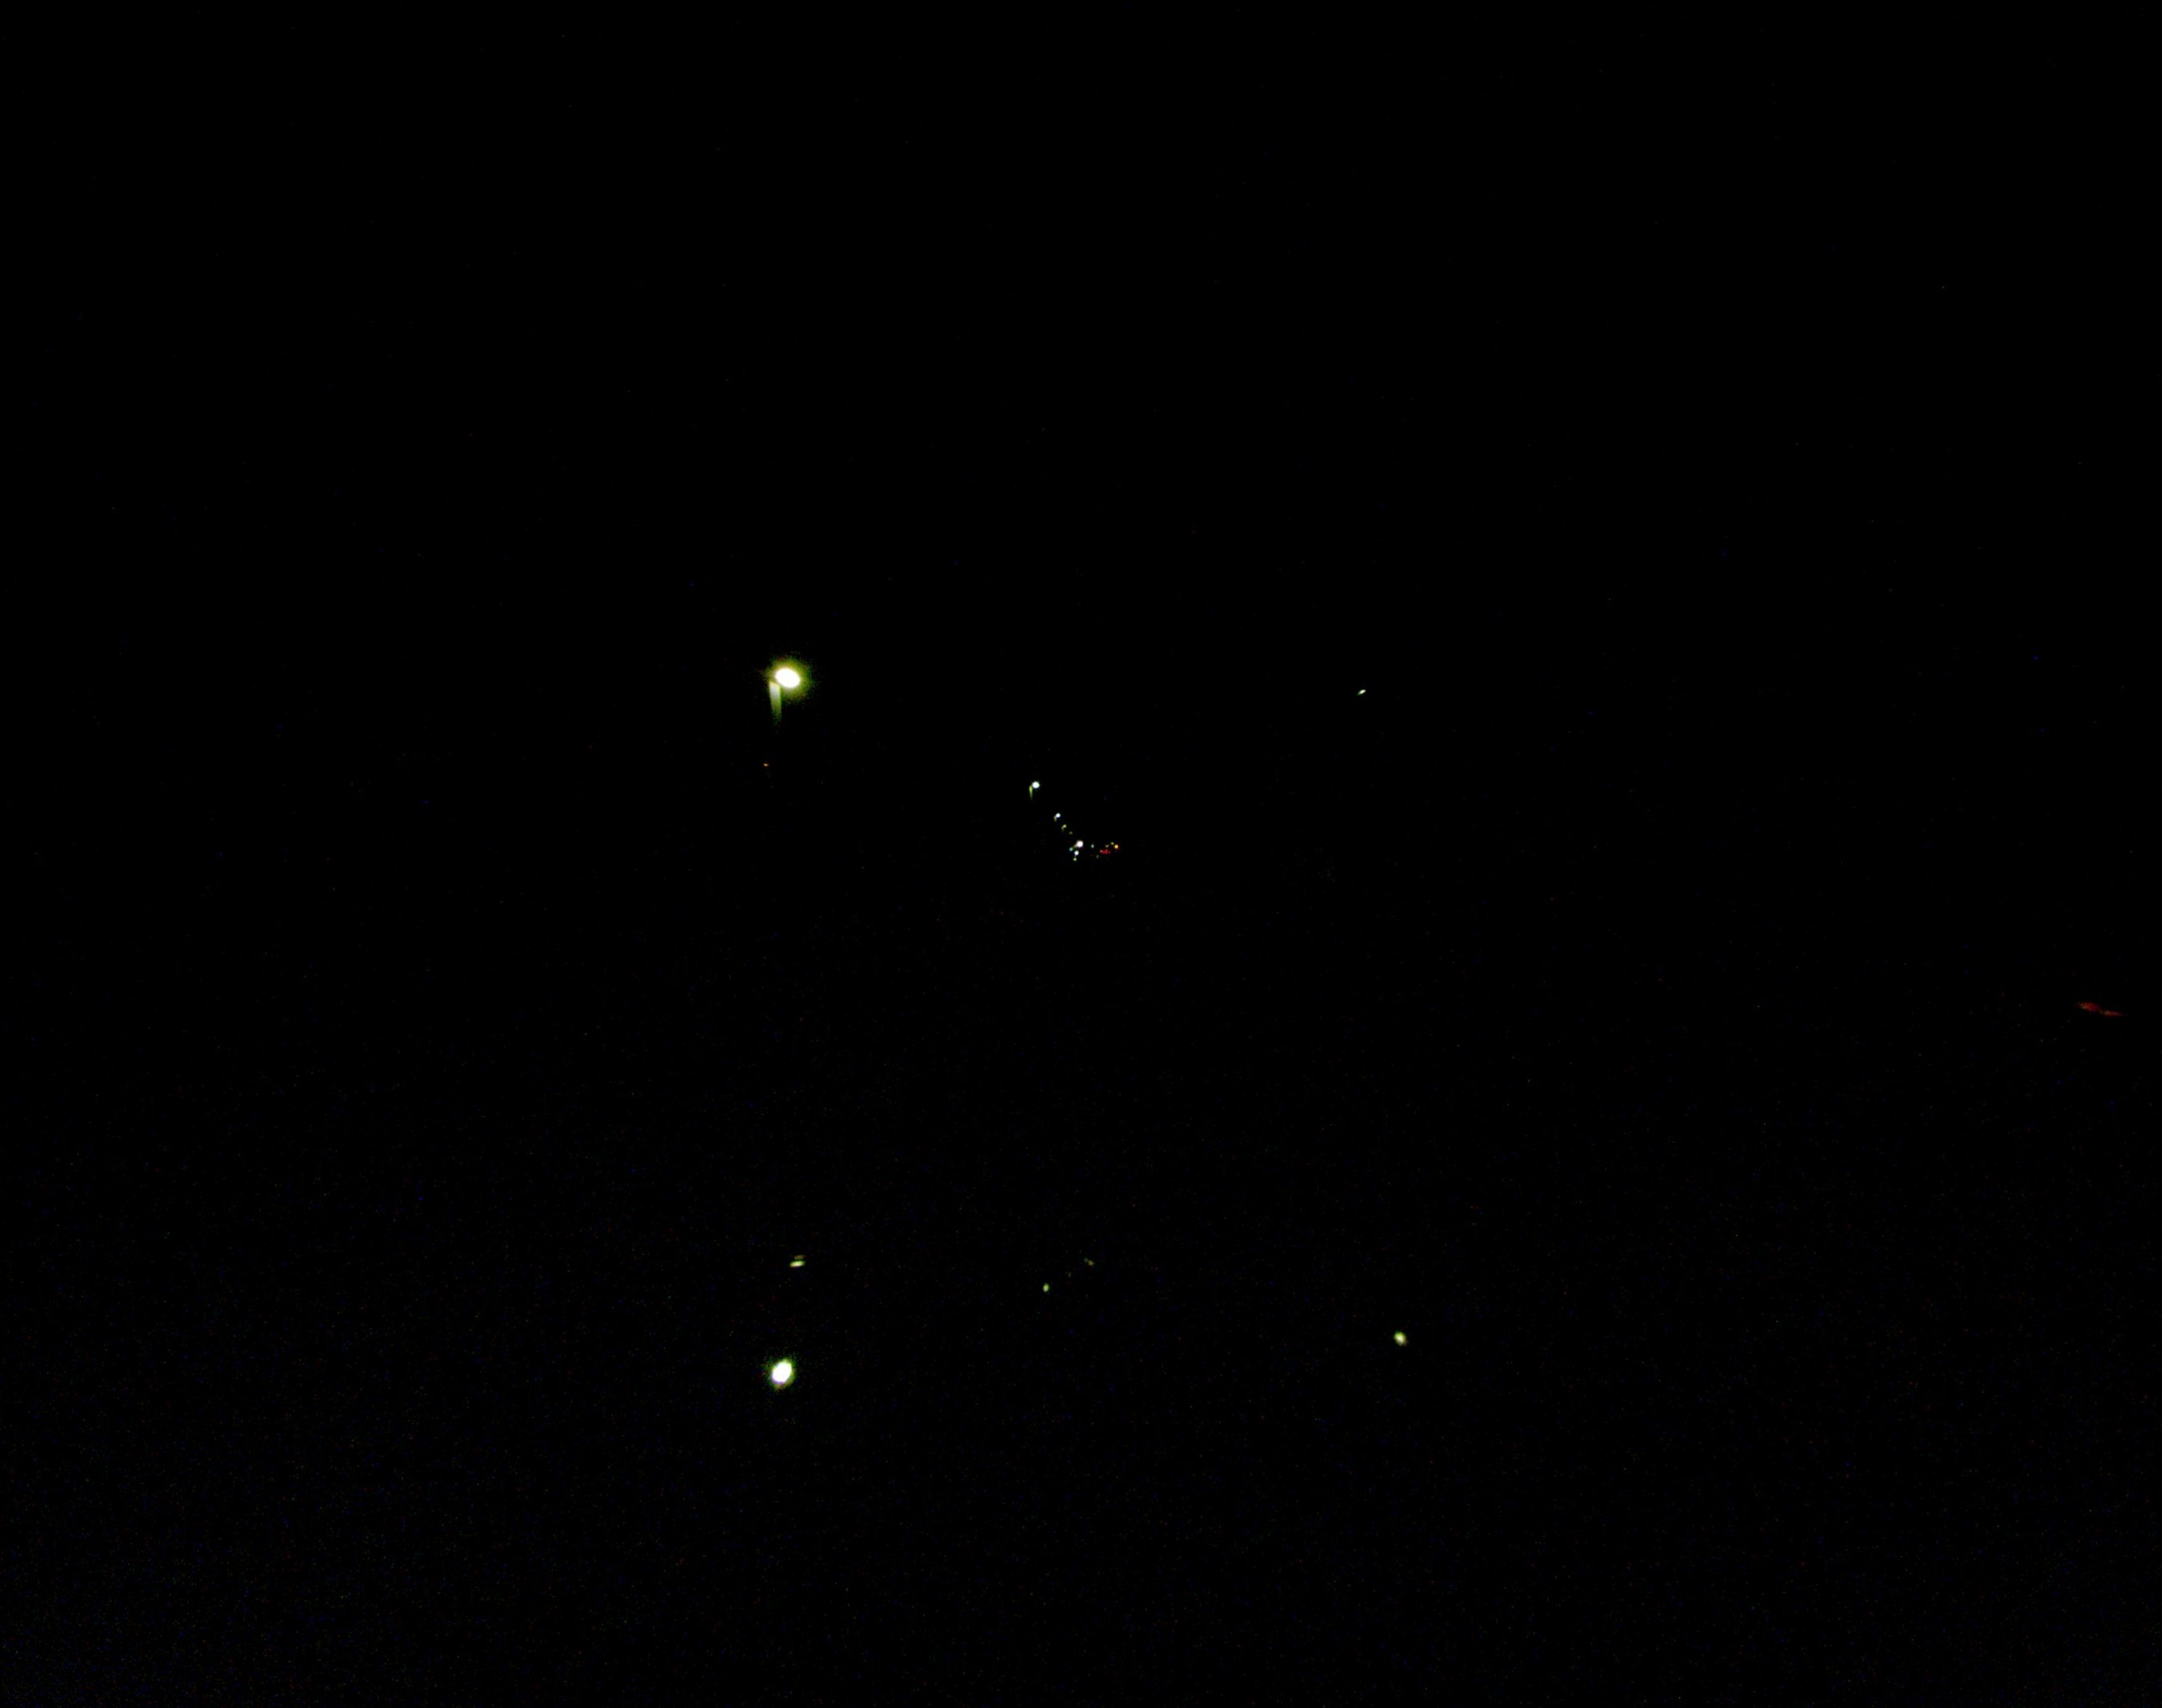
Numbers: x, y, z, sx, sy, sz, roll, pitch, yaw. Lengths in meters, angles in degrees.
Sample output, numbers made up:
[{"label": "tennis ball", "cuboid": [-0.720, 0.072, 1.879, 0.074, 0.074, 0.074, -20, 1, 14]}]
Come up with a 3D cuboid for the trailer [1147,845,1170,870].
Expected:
[{"label": "trailer", "cuboid": [5.672, 0.229, 55.976, 1.451, 1.678, 3.426, -5, 0, 3]}]

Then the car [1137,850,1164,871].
[{"label": "car", "cuboid": [5.370, 0.495, 59.224, 1.675, 1.513, 2.978, -5, 0, -1]}]

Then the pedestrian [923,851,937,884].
[{"label": "pedestrian", "cuboid": [-8.924, 0.769, 44.828, 0.647, 1.926, 0.773, 0, 1, 1]}]

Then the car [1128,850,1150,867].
[{"label": "car", "cuboid": [5.521, 0.433, 72.950, 1.771, 1.510, 4.278, -4, 0, 1]}]

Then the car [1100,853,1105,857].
[{"label": "car", "cuboid": [6.801, 0.332, 243.561, 1.606, 1.474, 3.699, -2, 0, 1]}]

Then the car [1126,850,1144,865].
[{"label": "car", "cuboid": [5.804, 0.334, 81.918, 1.692, 1.501, 4.278, -2, 0, 1]}]

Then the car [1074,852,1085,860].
[{"label": "car", "cuboid": [-0.305, 0.354, 141.039, 1.747, 1.560, 4.209, -2, 0, 2]}]

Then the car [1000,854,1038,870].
[{"label": "car", "cuboid": [-6.677, 0.849, 82.028, 3.720, 1.464, 1.731, -3, 1, 4]}]
